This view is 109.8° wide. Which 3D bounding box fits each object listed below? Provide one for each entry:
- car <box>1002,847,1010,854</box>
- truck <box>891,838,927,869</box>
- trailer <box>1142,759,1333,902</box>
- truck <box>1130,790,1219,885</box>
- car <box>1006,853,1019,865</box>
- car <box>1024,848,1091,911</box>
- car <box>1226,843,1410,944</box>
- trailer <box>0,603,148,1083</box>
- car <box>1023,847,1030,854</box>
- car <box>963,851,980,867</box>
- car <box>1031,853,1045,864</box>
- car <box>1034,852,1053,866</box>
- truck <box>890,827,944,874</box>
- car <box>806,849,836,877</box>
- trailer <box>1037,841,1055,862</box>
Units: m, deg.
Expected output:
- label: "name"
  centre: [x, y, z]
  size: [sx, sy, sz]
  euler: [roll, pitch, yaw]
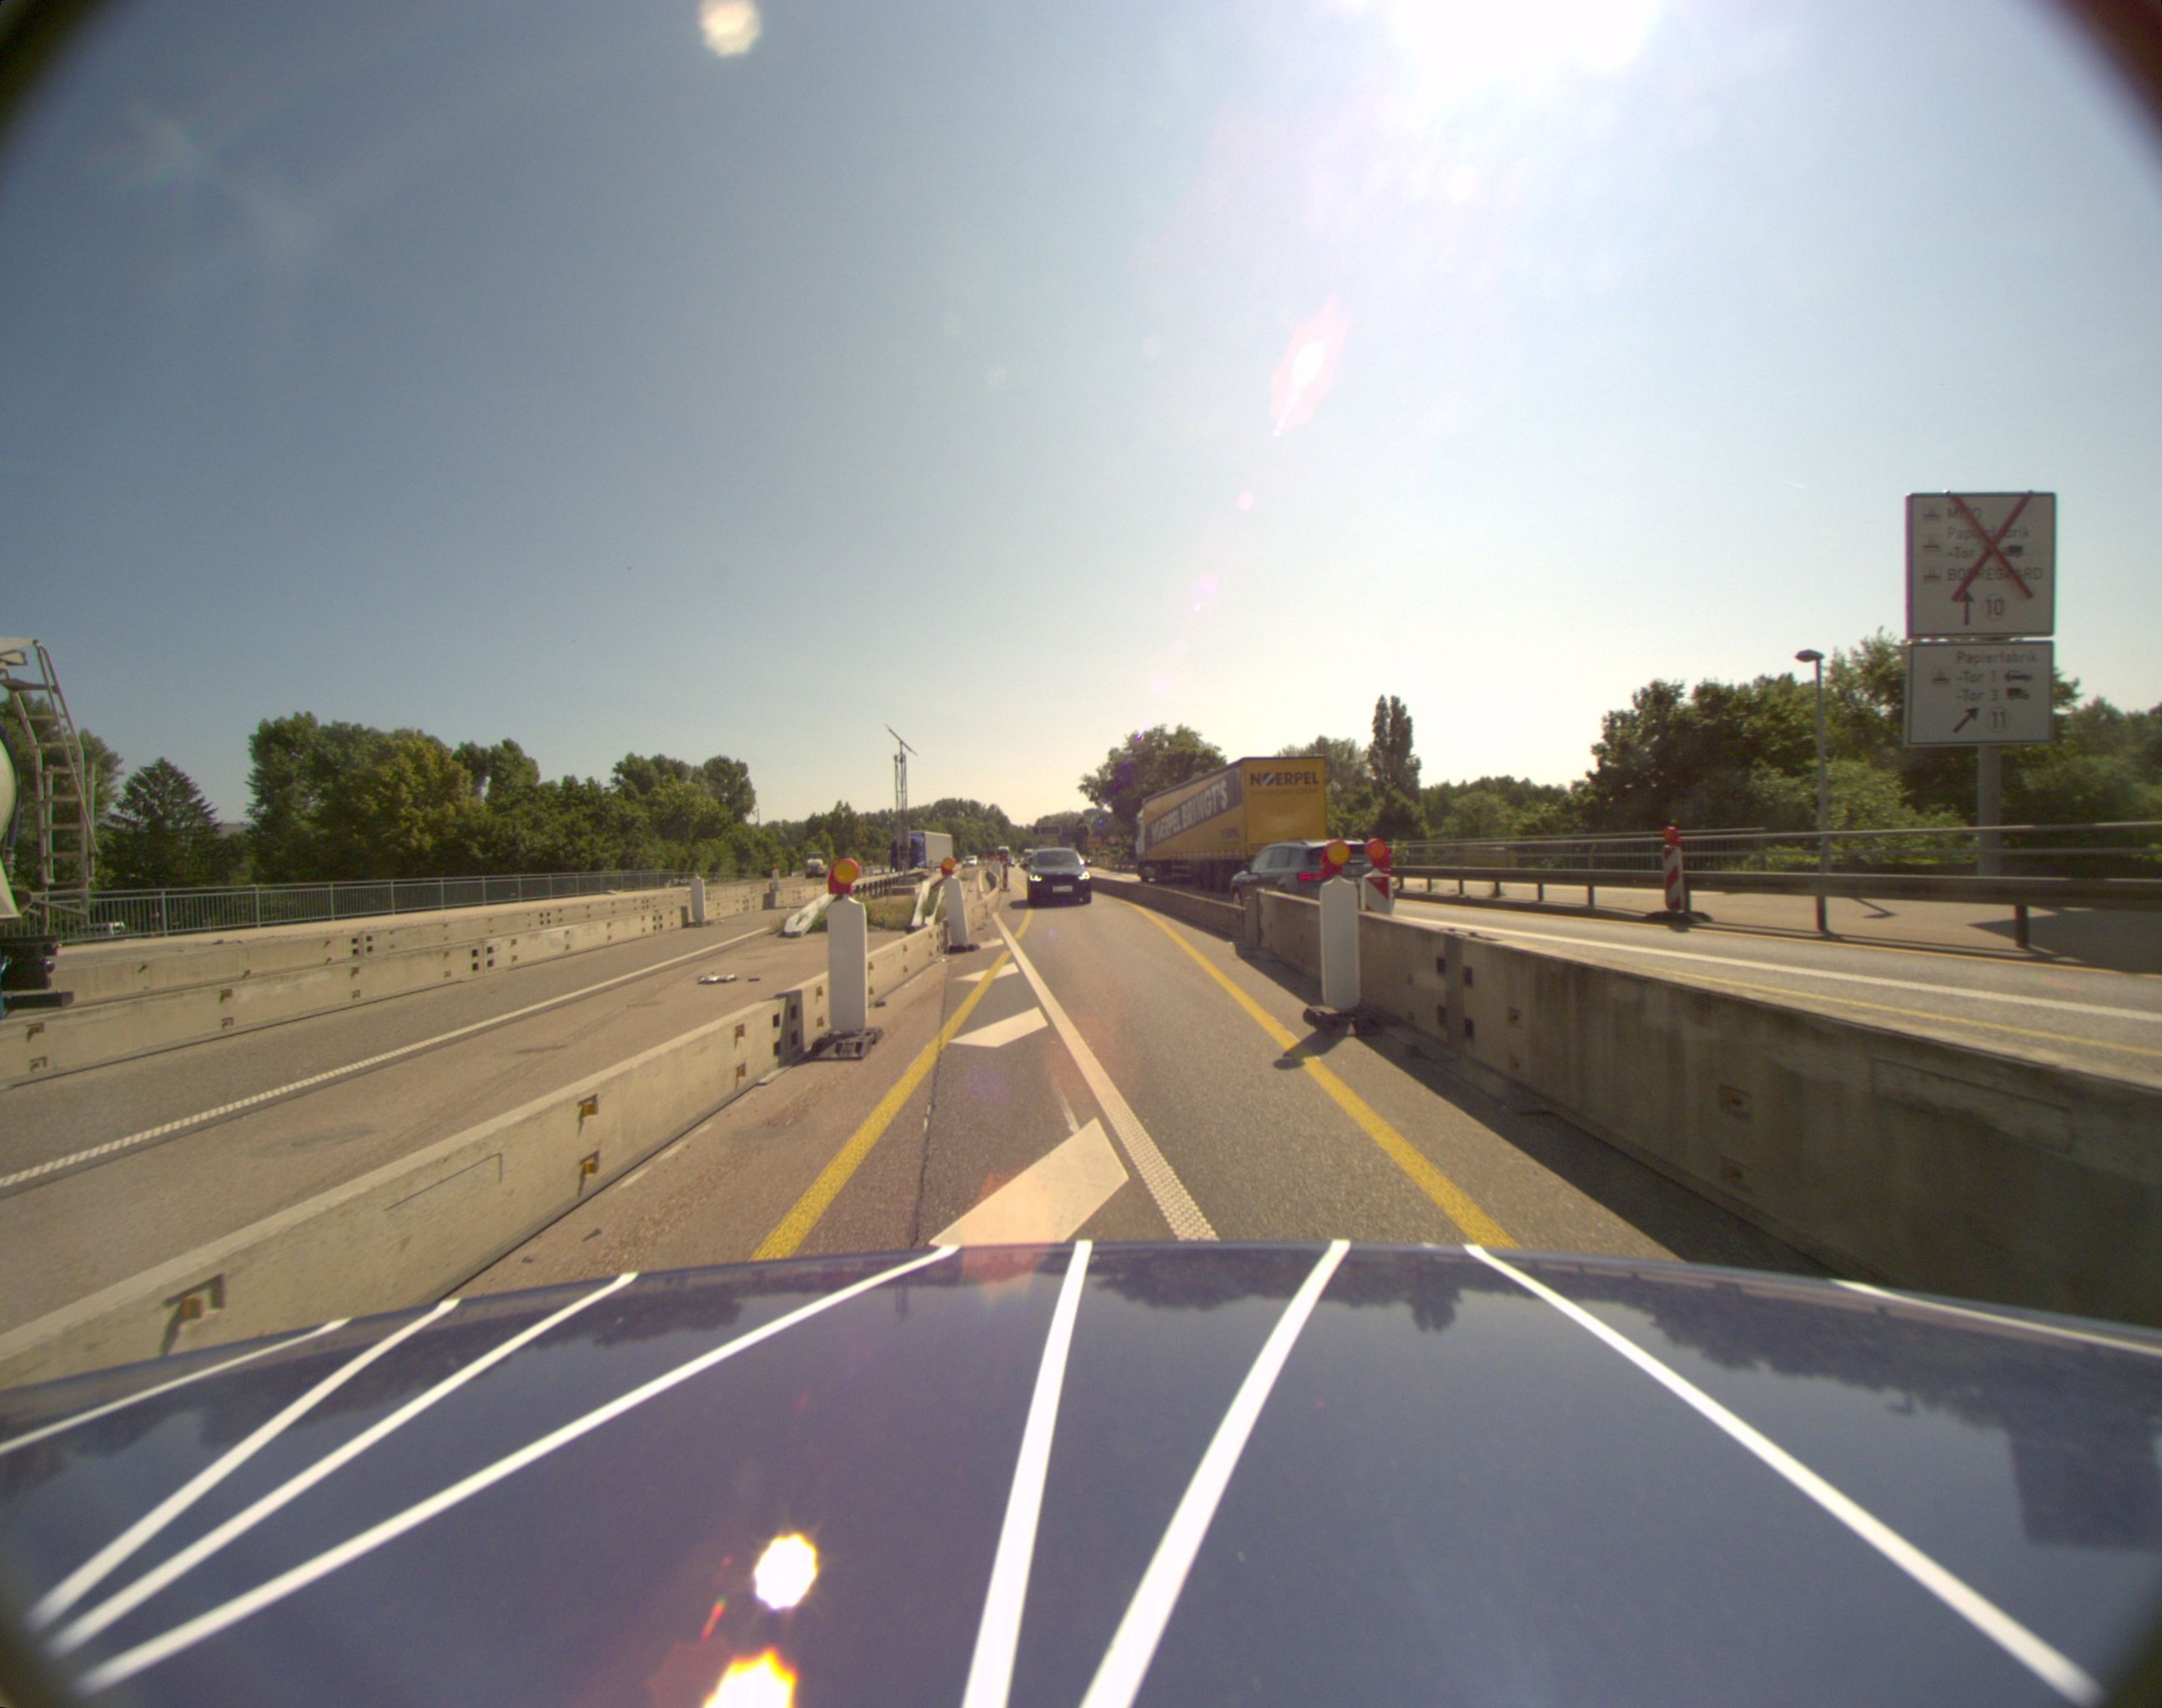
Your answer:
- label: "car"
  centre: [-16.859, -0.774, 170.773]
  size: [1.748, 1.621, 4.091]
  euler: [-1, 0, -3]
- label: "truck"
  centre: [-20.046, -0.137, 88.945]
  size: [2.606, 3.413, 8.731]
  euler: [-1, 0, -3]
- label: "trailer"
  centre: [5.151, -0.728, 29.303]
  size: [2.769, 4.112, 14.521]
  euler: [-1, 0, -7]
- label: "truck"
  centre: [4.296, -0.764, 36.344]
  size: [2.758, 4.112, 6.411]
  euler: [-1, 1, -6]
- label: "car"
  centre: [-9.671, 0.630, 107.526]
  size: [1.748, 1.621, 4.090]
  euler: [-1, 1, -5]
- label: "car"
  centre: [-0.747, 0.703, 23.784]
  size: [1.789, 1.651, 4.485]
  euler: [-4, 1, -2]
- label: "car"
  centre: [4.187, 0.620, 14.117]
  size: [1.796, 1.559, 3.870]
  euler: [-2, 0, -7]
- label: "trailer"
  centre: [-10.001, -0.054, 1.160]
  size: [2.702, 4.113, 12.605]
  euler: [-1, 0, -7]
- label: "car"
  centre: [-17.038, -1.180, 239.165]
  size: [1.999, 2.002, 3.999]
  euler: [-1, 1, -1]
- label: "car"
  centre: [-14.352, 0.666, 99.725]
  size: [2.000, 2.002, 3.997]
  euler: [-1, 1, -6]
- label: "car"
  centre: [-6.480, 0.638, 114.454]
  size: [1.743, 1.543, 3.940]
  euler: [-2, 0, -7]
- label: "car"
  centre: [-4.456, 0.599, 90.161]
  size: [1.869, 1.622, 4.563]
  euler: [-2, 0, -6]
- label: "truck"
  centre: [-14.644, -0.351, 68.535]
  size: [2.861, 3.962, 8.665]
  euler: [-1, 1, 0]
- label: "car"
  centre: [-26.039, 0.834, 76.332]
  size: [2.111, 2.627, 5.978]
  euler: [-1, 1, -12]
- label: "trailer"
  centre: [-6.975, -0.446, 148.853]
  size: [2.812, 4.019, 13.460]
  euler: [-1, 0, -6]
